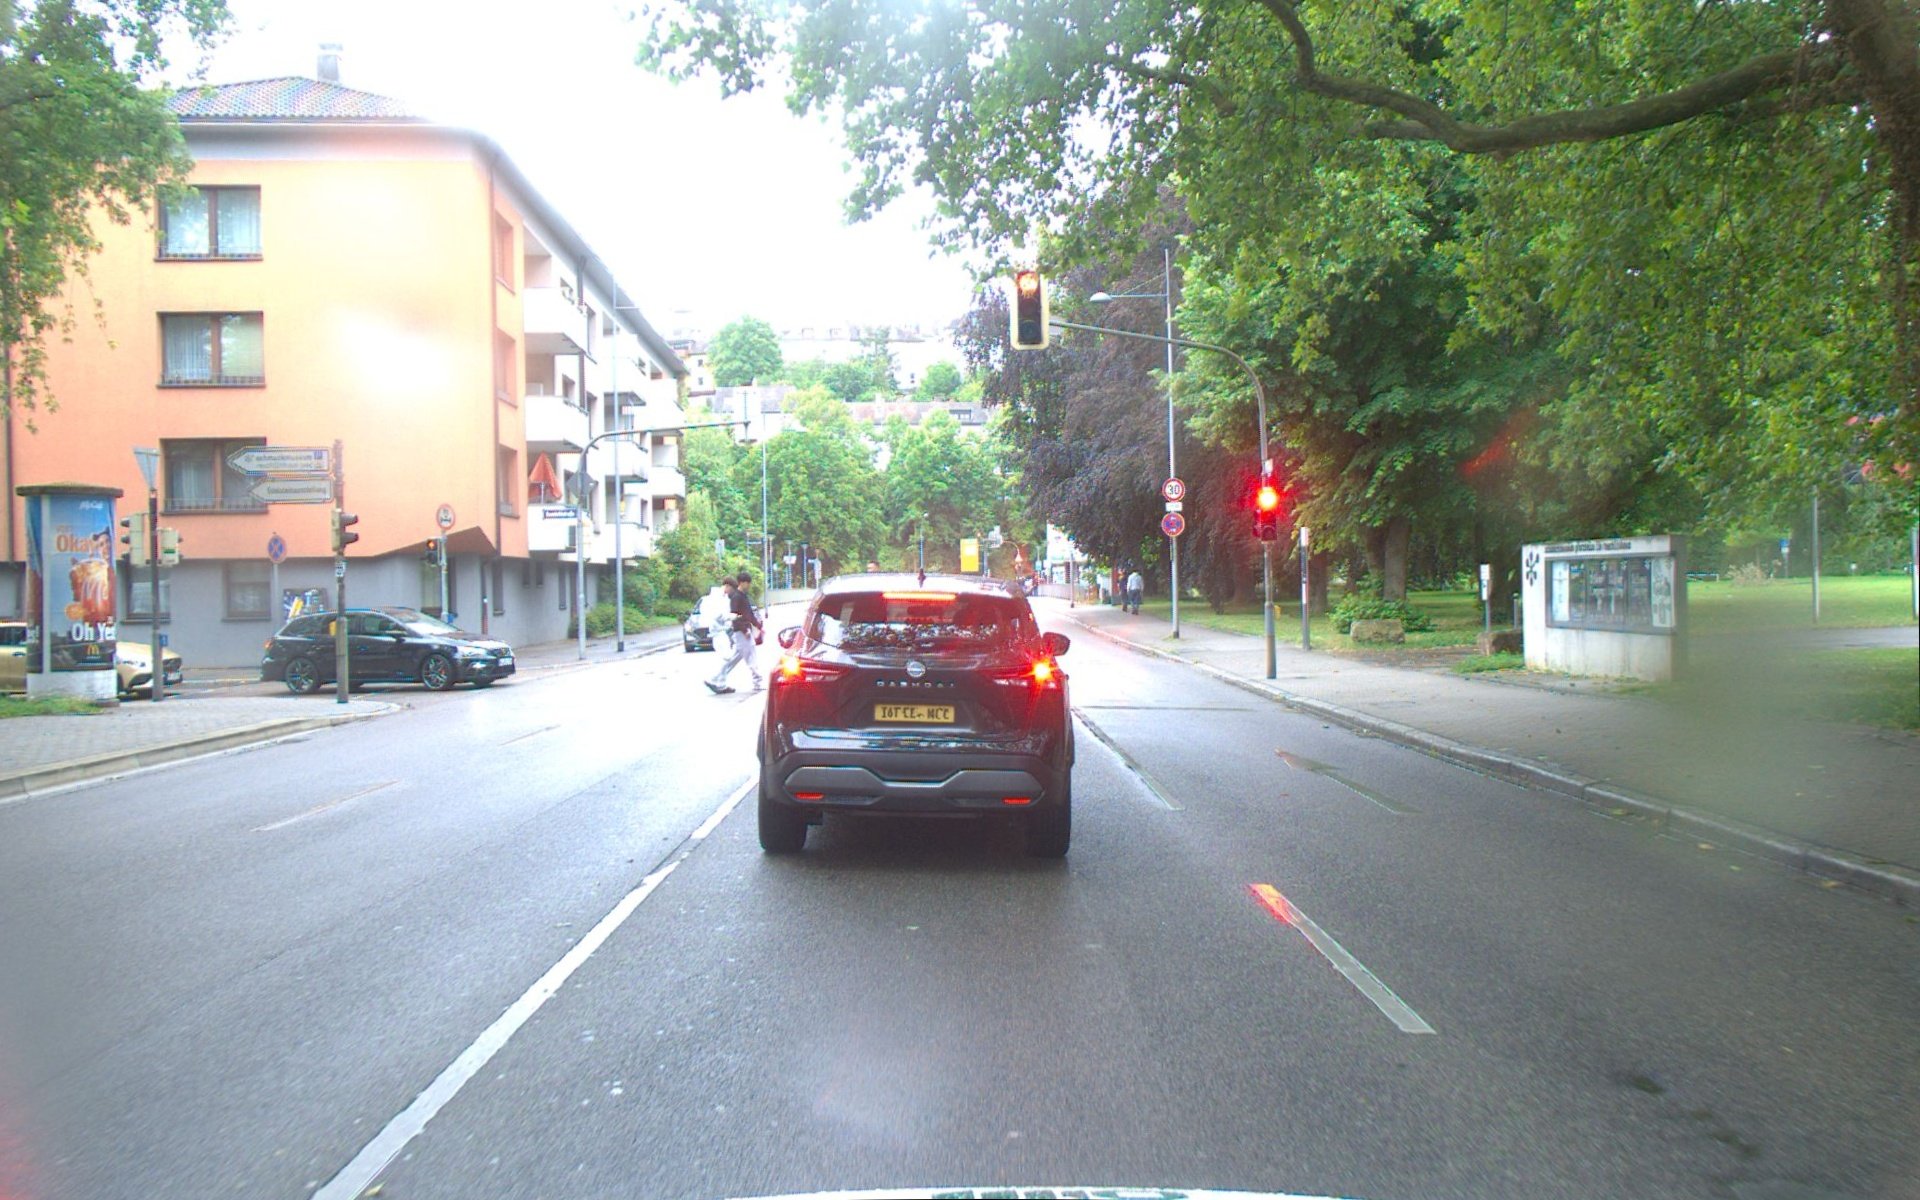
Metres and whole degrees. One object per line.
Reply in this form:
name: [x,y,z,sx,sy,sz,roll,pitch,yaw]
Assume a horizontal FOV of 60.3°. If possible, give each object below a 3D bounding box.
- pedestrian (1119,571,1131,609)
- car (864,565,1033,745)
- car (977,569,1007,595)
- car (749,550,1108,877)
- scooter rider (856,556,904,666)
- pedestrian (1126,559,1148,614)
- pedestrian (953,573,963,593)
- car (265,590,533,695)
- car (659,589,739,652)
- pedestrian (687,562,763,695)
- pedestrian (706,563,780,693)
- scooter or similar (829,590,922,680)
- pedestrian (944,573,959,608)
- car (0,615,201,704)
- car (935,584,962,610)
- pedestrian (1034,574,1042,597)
pedestrian: [6.734,-0.407,67.607,0.382,1.528,0.559,-2,0,-1]
car: [-0.140,0.538,18.577,1.664,1.776,3.640,-2,0,-1]
car: [2.313,-1.266,119.098,1.952,1.765,4.002,1,0,4]
car: [-0.183,0.582,10.717,1.874,1.709,4.000,1,0,-1]
scooter rider: [-1.336,0.187,27.605,0.629,1.797,0.736,-1,-1,11]
pedestrian: [6.753,-0.518,63.167,0.710,2.049,0.851,-2,0,-1]
pedestrian: [-0.158,-1.412,139.085,0.498,1.702,0.658,-2,0,27]
car: [-9.858,0.724,29.214,4.036,1.654,1.853,-2,0,8]
car: [-7.013,0.512,44.679,1.760,1.560,3.864,-2,0,-4]
pedestrian: [-3.481,0.413,24.441,1.017,1.908,0.656,-2,0,-12]
pedestrian: [-3.313,0.417,25.195,1.017,1.908,0.656,-2,0,-12]
scooter or similar: [-1.407,0.585,27.627,1.364,1.471,0.818,-1,-1,11]
pedestrian: [-0.444,-0.520,88.250,0.505,1.833,0.611,-2,0,-37]
car: [-16.423,1.079,29.874,4.540,1.428,1.832,-2,0,0]
car: [-0.708,-0.213,102.731,1.601,1.559,3.967,-2,1,-1]
pedestrian: [6.295,-1.166,133.304,0.498,1.833,0.619,-2,0,-2]
